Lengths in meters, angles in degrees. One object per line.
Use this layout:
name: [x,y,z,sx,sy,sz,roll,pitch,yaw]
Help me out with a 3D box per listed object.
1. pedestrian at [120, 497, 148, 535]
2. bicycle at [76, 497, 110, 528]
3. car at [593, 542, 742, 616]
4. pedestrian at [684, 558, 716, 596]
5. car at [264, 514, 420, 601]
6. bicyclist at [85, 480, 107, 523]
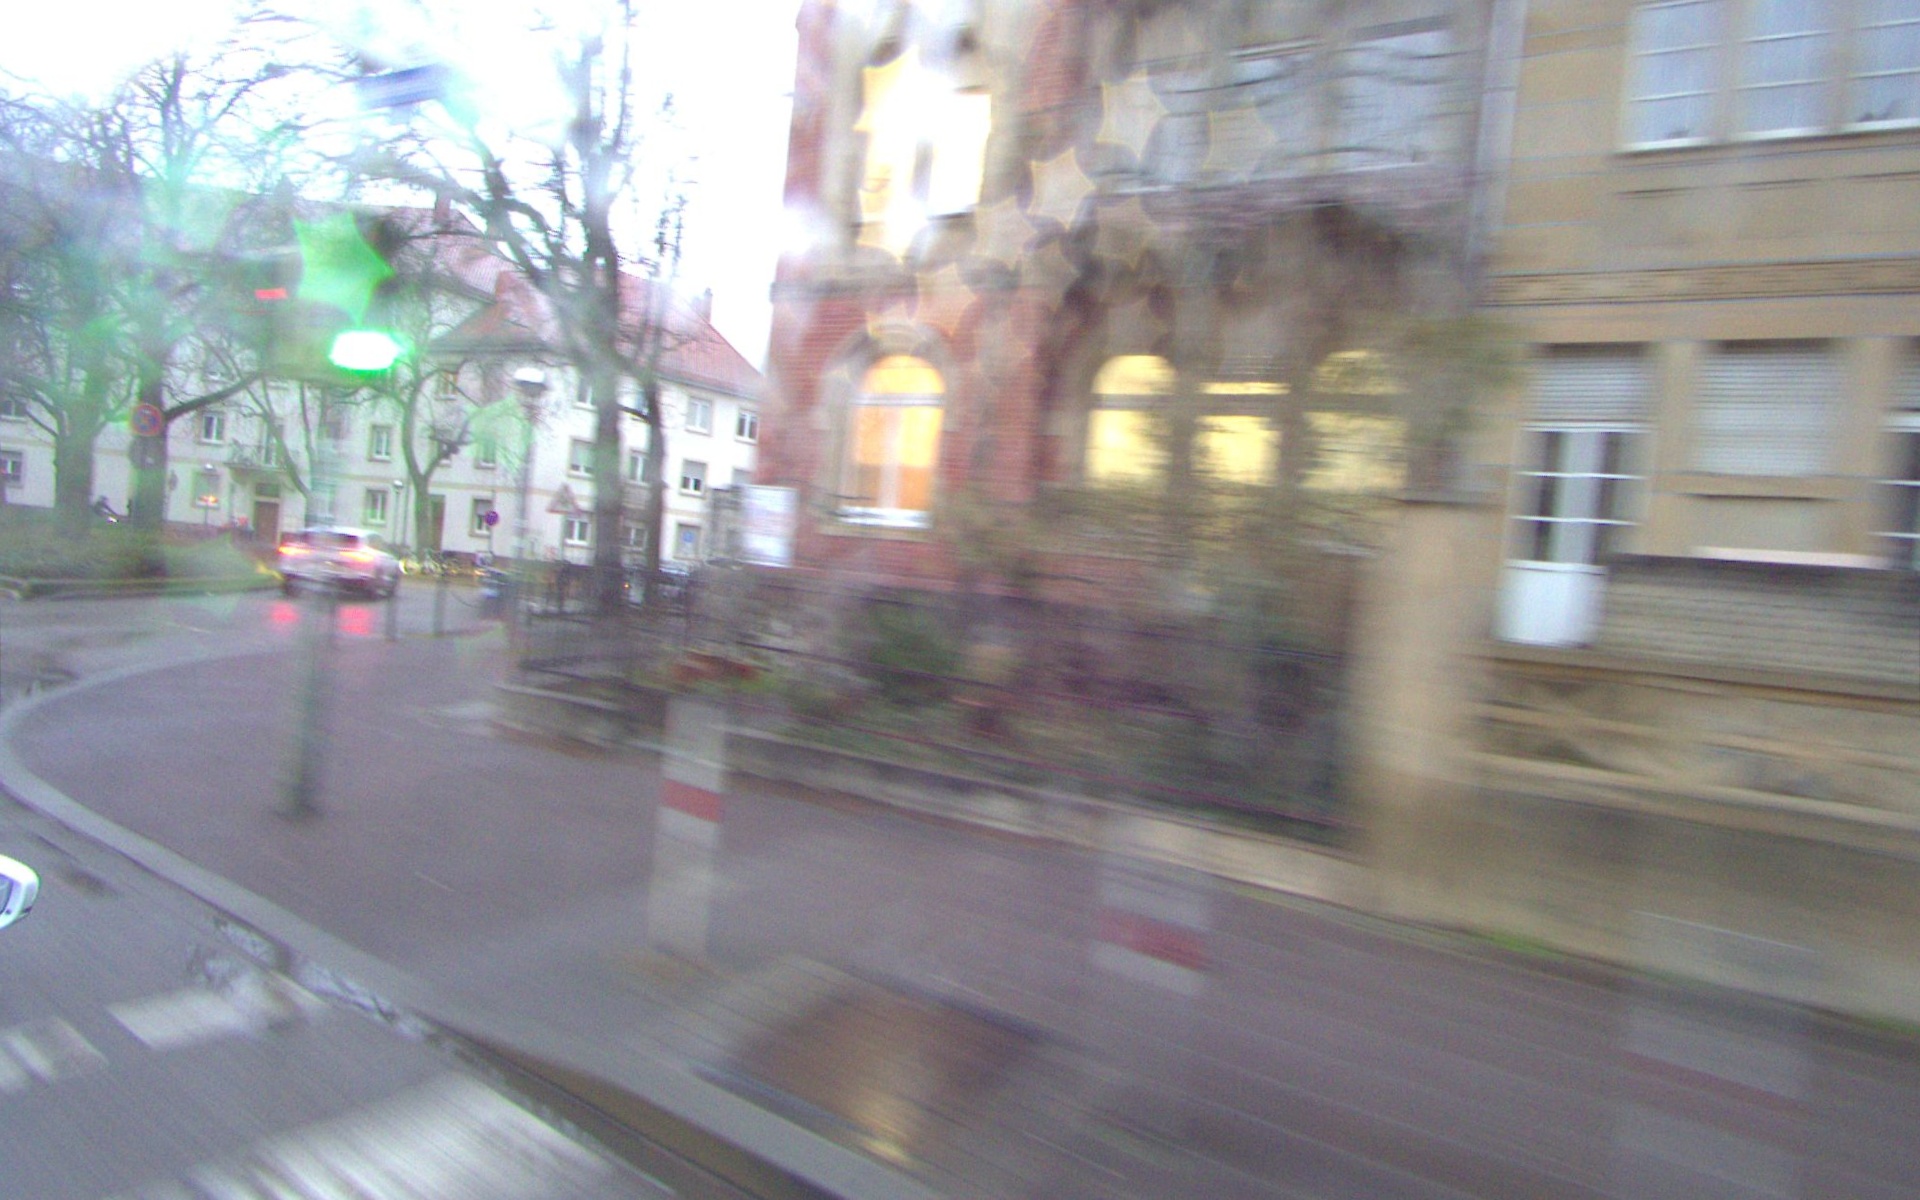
pedestrian: [-39.457,-3.993,48.076,0.703,1.682,0.686,6,2,-13]
bicycle: [-40.401,-4.069,46.865,1.881,1.308,0.467,6,1,27]
car: [-9.391,-0.634,32.633,1.780,1.748,4.330,6,-3,36]
pedestrian: [-12.487,-1.100,48.357,1.115,1.663,0.750,5,2,-45]
car: [-14.344,-0.893,23.677,1.872,1.527,4.739,8,-3,-17]
bicyclist: [-40.188,-4.566,46.777,0.667,1.911,0.467,6,1,27]
